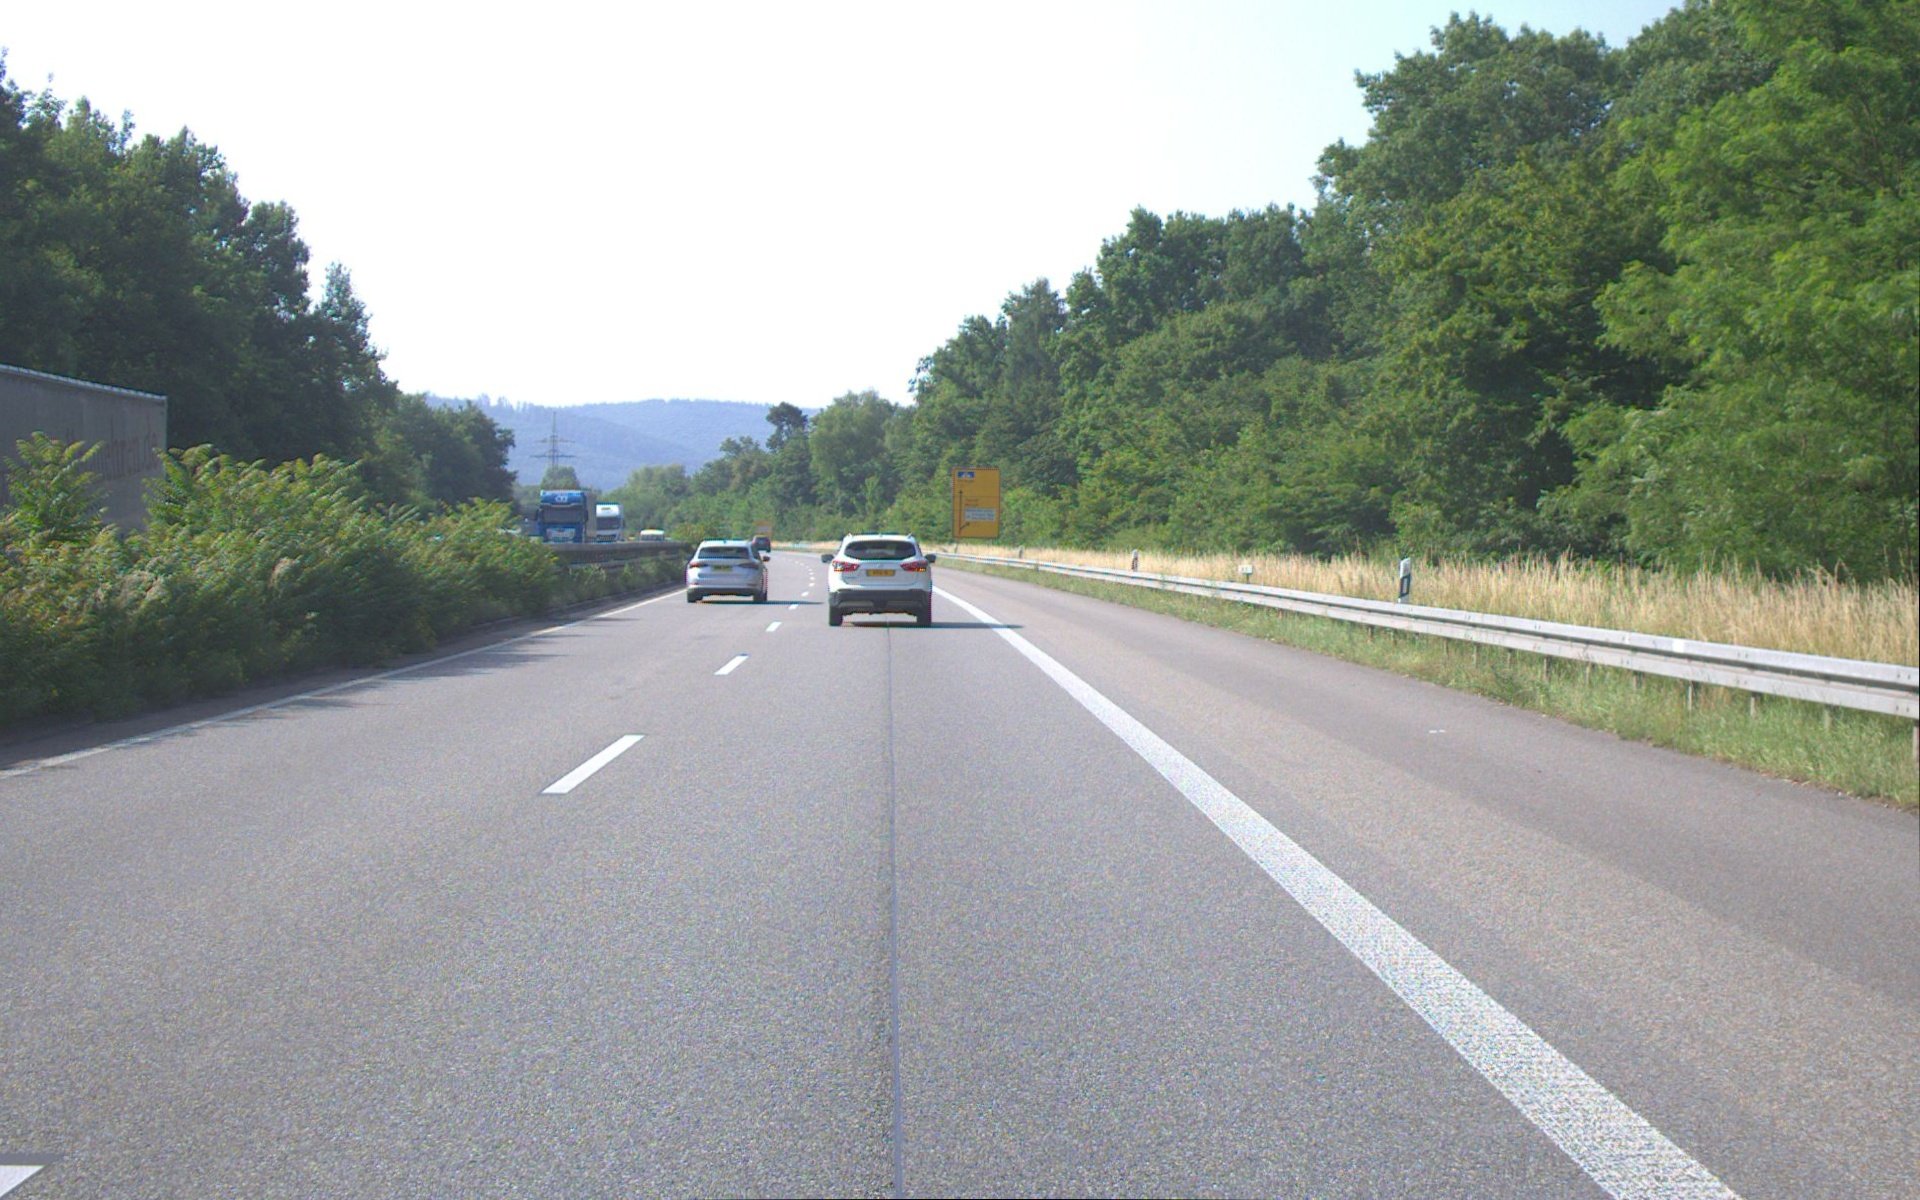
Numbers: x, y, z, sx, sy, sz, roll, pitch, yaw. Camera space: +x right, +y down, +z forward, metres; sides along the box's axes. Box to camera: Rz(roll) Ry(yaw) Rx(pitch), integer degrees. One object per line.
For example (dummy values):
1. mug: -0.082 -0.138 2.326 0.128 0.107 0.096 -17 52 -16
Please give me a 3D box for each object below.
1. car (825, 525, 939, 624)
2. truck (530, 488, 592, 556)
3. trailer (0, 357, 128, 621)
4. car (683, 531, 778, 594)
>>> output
1. car: -1.359 -0.474 60.447 1.873 1.580 4.000 3 1 -1
2. truck: -22.552 -4.406 194.507 2.801 3.757 8.476 1 1 -2
3. trailer: -15.944 -1.748 54.571 2.831 3.985 11.435 1 1 -1
4. car: -5.385 -0.908 81.171 1.792 1.433 5.278 0 1 1
